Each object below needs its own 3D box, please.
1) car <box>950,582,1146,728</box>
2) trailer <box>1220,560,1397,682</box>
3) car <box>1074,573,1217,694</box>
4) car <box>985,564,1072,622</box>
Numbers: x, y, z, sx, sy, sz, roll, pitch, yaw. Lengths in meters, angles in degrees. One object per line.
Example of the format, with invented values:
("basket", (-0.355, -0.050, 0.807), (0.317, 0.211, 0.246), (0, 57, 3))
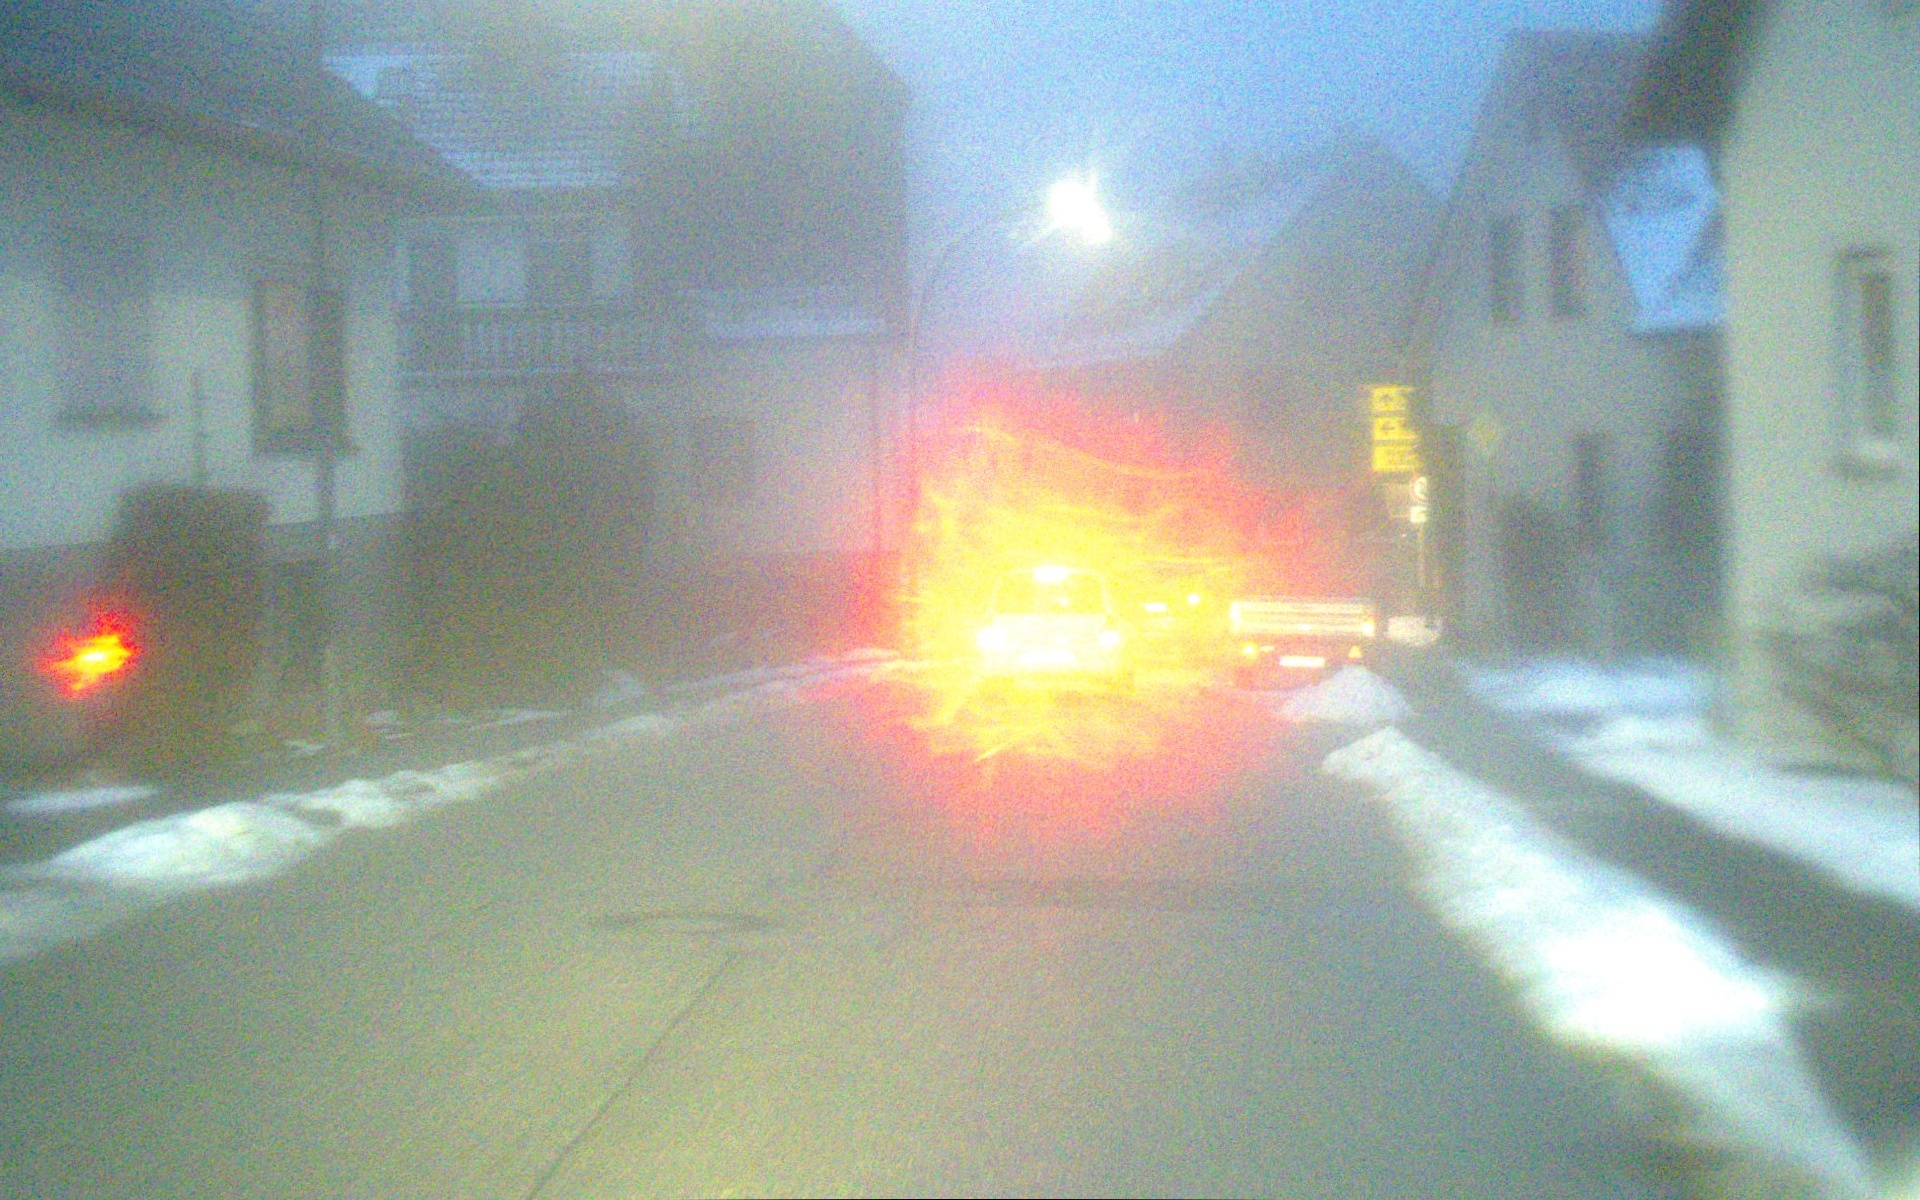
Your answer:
("car", (1.026, 0.591, 37.986), (1.994, 1.503, 3.999), (1, -1, 4))
("trailer", (4.327, 0.215, 42.131), (1.994, 1.383, 4.730), (1, 1, 8))
("car", (2.813, 0.498, 51.453), (1.994, 1.722, 3.999), (1, -1, 5))
("car", (1.821, -0.210, 92.561), (1.910, 1.476, 4.282), (-1, 1, -4))
